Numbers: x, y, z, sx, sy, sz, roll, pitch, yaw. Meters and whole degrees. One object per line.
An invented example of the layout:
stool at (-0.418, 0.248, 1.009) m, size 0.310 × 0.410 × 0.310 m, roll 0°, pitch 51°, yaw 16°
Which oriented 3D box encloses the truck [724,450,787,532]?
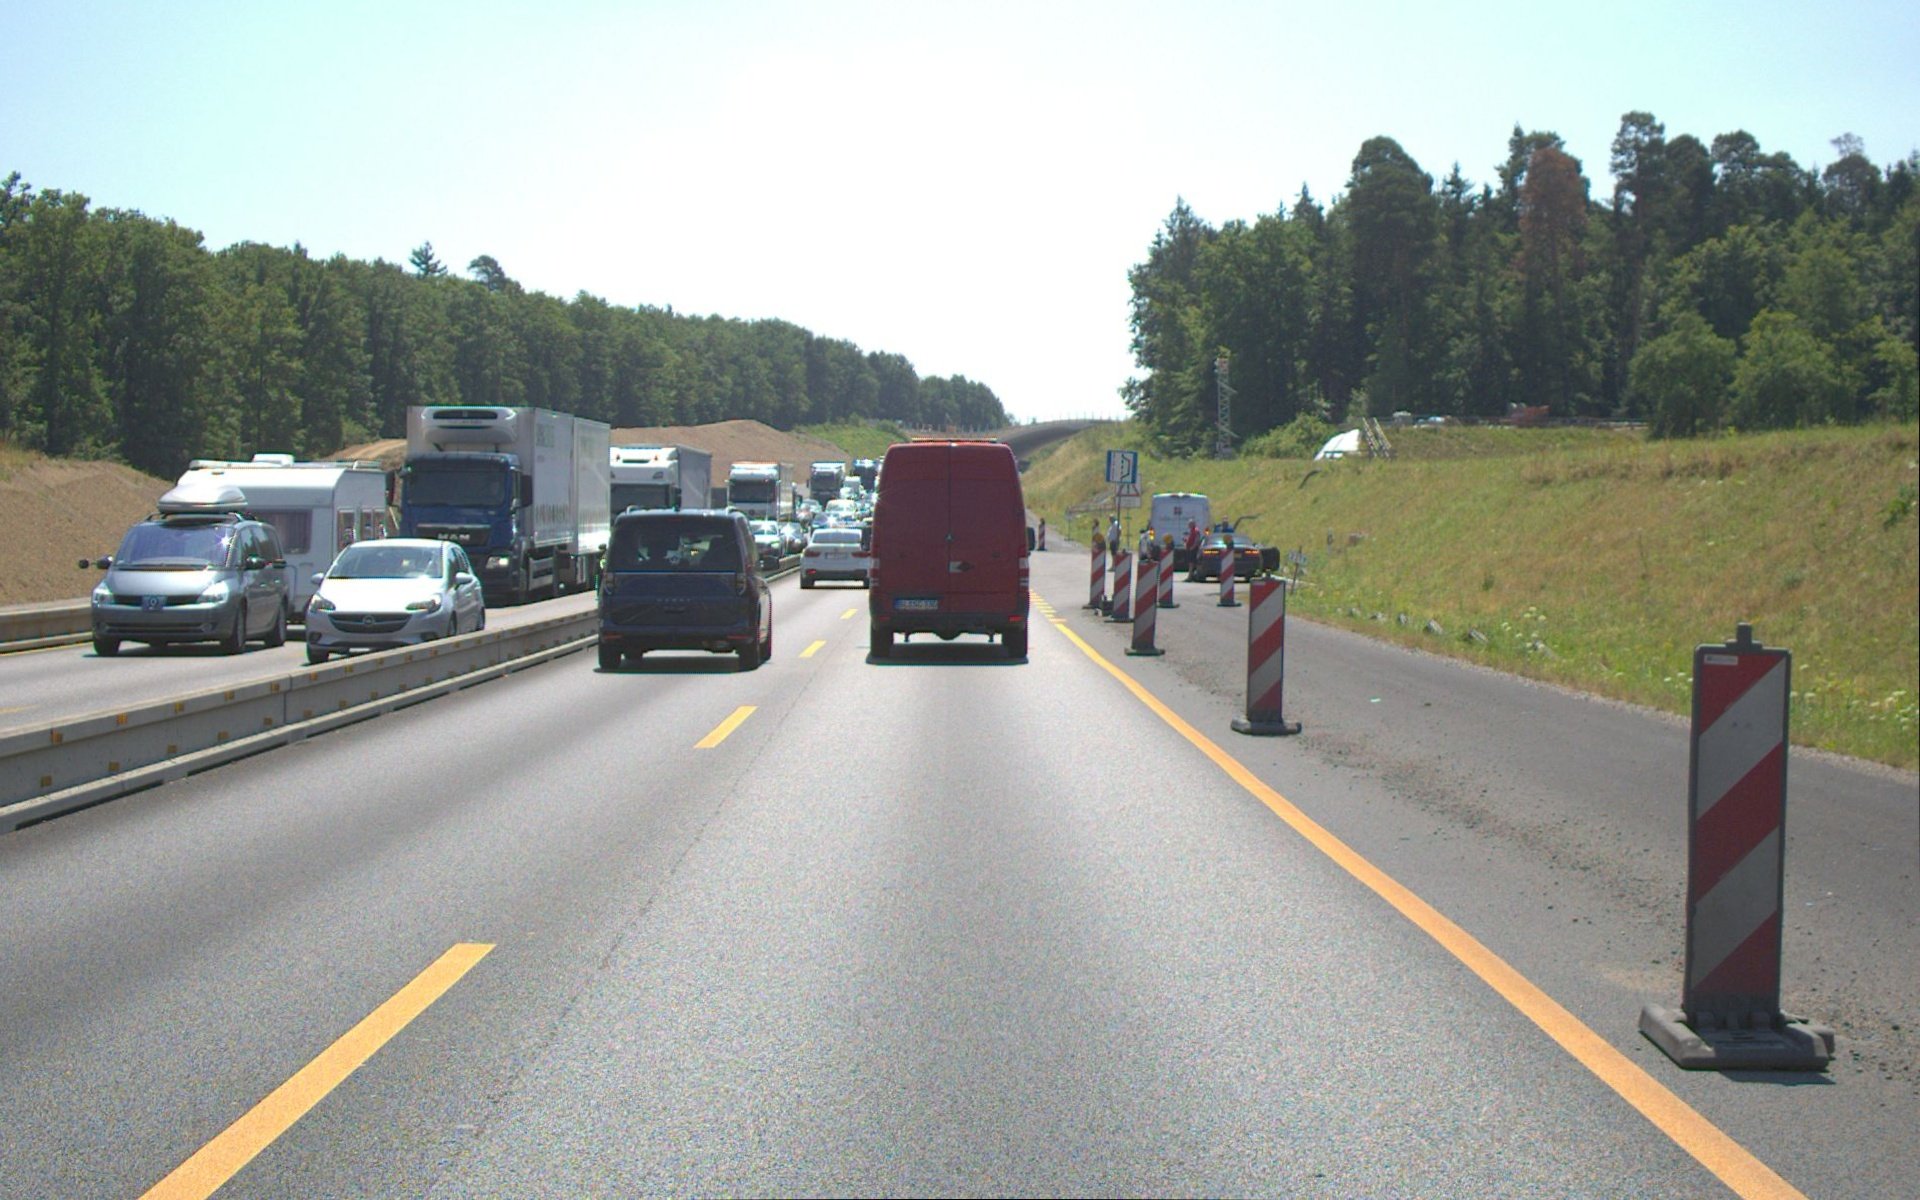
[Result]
truck at (-10.326, -5.477, 173.883) m, size 2.768 × 4.030 × 4.943 m, roll 1°, pitch 1°, yaw 1°

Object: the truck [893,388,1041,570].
truck at (0.202, -3.751, 112.543) m, size 4.400 × 5.477 × 16.604 m, roll 1°, pitch 1°, yaw 0°

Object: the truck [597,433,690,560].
truck at (-10.337, -3.386, 112.634) m, size 2.591 × 4.039 × 5.150 m, roll 1°, pitch 1°, yaw -1°

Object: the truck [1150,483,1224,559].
truck at (7.645, -2.659, 115.400) m, size 2.130 × 2.448 × 5.924 m, roll 1°, pitch 2°, yaw 7°

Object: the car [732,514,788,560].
car at (-7.116, -2.263, 122.571) m, size 1.775 × 1.549 × 4.140 m, roll -2°, pitch 1°, yaw -1°

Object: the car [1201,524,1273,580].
car at (7.811, -1.376, 97.206) m, size 1.654 × 1.422 × 4.545 m, roll -2°, pitch 2°, yaw 0°

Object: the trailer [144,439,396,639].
trailer at (-9.958, -0.903, 50.257) m, size 2.311 × 2.677 × 6.756 m, roll -1°, pitch 1°, yaw 0°

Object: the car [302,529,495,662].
car at (-6.703, -0.071, 41.400) m, size 1.688 × 1.496 × 3.976 m, roll 1°, pitch 1°, yaw 0°

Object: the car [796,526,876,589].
car at (-3.088, -1.068, 86.238) m, size 1.831 × 1.517 × 3.961 m, roll 1°, pitch 1°, yaw 0°

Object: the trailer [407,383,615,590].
trailer at (-9.932, -2.474, 77.873) m, size 2.502 × 4.165 × 15.534 m, roll -1°, pitch 1°, yaw 0°

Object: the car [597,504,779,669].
car at (-3.156, -0.217, 40.683) m, size 1.751 × 1.818 × 4.783 m, roll 1°, pitch 2°, yaw 0°

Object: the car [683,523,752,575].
car at (-7.232, -1.520, 102.955) m, size 1.807 × 1.483 × 4.243 m, roll 1°, pitch 1°, yaw -1°

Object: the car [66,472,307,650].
car at (-9.918, -0.503, 44.455) m, size 1.993 × 2.148 × 4.865 m, roll 1°, pitch 1°, yaw 0°

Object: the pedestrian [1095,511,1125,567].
pedestrian at (4.889, -1.989, 111.854) m, size 0.723 × 1.822 × 0.720 m, roll 1°, pitch 0°, yaw -20°

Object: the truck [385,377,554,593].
truck at (-9.962, -2.318, 70.354) m, size 2.491 × 4.184 × 5.912 m, roll -1°, pitch 1°, yaw 0°

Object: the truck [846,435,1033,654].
truck at (-0.333, -0.694, 43.682) m, size 2.153 × 2.581 × 5.334 m, roll 1°, pitch 1°, yaw -2°

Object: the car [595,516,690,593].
car at (-6.932, -0.985, 75.400) m, size 1.688 × 1.608 × 4.594 m, roll 1°, pitch 1°, yaw 0°

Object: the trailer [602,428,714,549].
trailer at (-10.390, -3.830, 119.743) m, size 2.653 × 3.924 × 13.997 m, roll 1°, pitch 1°, yaw 0°

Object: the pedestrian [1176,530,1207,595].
pedestrian at (6.520, -1.059, 96.796) m, size 0.640 × 1.822 × 0.559 m, roll 0°, pitch 2°, yaw -21°
